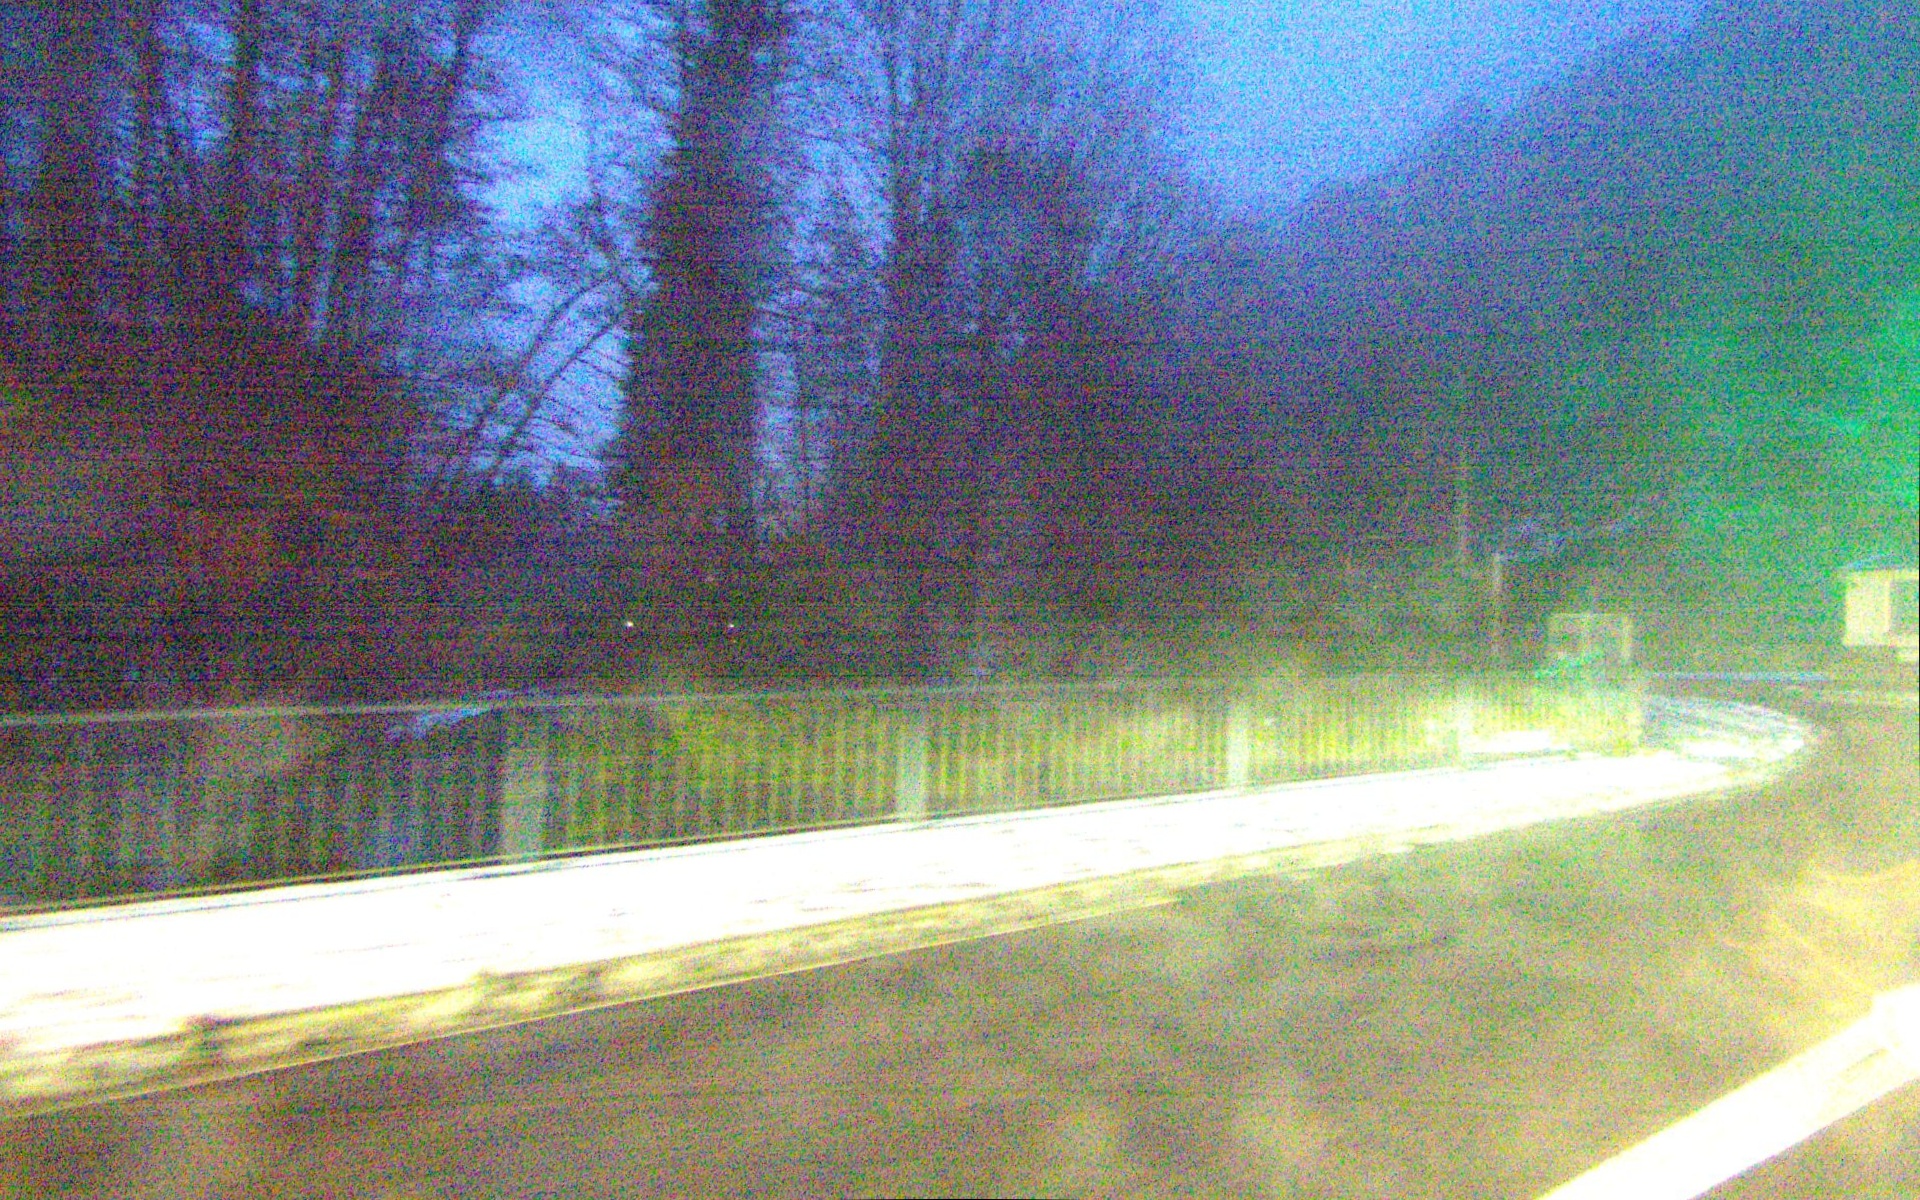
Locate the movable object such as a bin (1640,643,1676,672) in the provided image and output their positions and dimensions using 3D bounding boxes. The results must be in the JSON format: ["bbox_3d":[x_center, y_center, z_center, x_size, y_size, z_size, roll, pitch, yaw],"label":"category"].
[{"bbox_3d":[33.607,2.755,48.363,1.298,1.316,1.245,2,1,40],"label":"movable object such as a bin"}]

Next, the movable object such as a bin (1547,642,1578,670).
[{"bbox_3d":[30.721,2.842,51.198,1.300,1.326,1.173,-1,-1,33],"label":"movable object such as a bin"}]

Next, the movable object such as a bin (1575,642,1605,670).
[{"bbox_3d":[31.481,2.778,50.201,1.212,1.343,1.150,-1,-1,35],"label":"movable object such as a bin"}]

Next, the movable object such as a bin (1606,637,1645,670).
[{"bbox_3d":[32.625,2.603,49.221,1.371,1.432,1.244,3,2,42],"label":"movable object such as a bin"}]
